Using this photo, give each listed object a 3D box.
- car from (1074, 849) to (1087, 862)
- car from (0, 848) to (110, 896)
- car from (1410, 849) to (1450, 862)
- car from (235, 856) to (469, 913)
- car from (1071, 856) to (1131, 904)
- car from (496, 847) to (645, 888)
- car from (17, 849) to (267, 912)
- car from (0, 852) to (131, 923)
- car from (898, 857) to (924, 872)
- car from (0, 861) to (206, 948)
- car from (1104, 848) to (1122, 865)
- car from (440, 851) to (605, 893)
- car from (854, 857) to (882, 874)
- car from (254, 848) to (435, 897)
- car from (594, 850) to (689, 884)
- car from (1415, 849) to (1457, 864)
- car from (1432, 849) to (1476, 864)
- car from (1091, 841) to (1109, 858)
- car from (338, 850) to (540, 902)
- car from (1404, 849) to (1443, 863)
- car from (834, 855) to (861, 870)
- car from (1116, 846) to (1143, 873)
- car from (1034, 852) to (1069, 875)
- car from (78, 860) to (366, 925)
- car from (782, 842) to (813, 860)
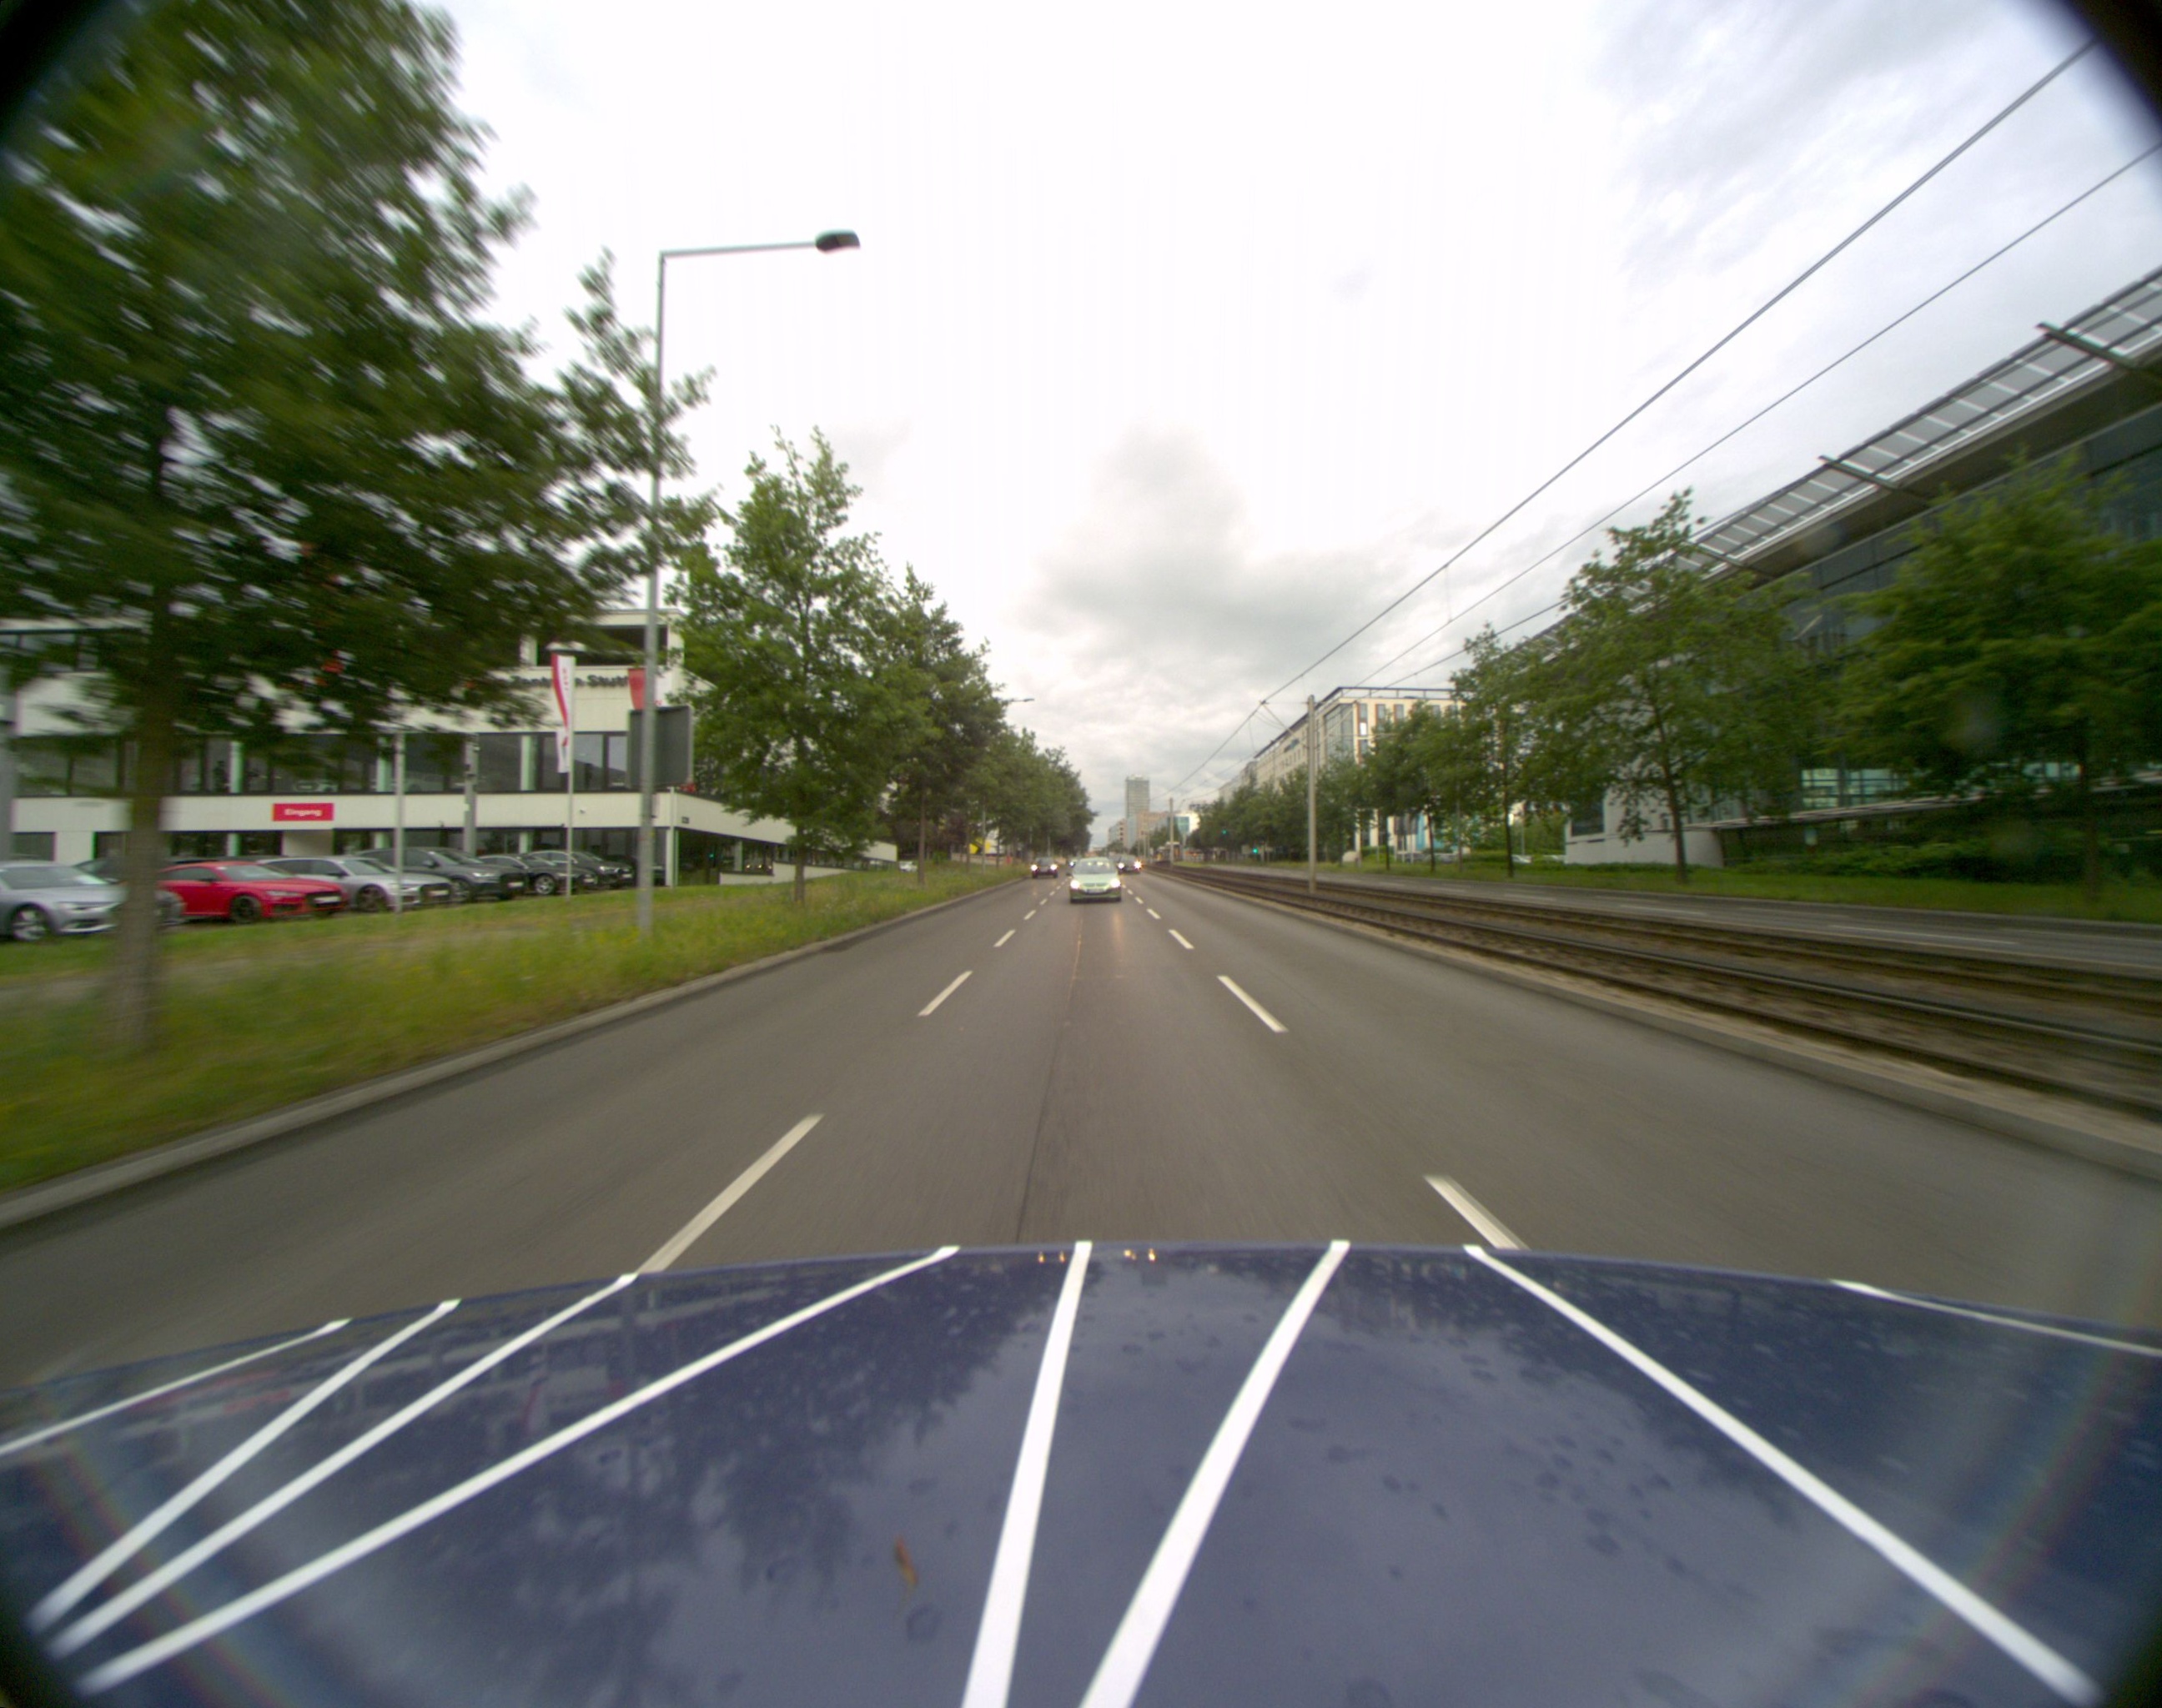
[{"bbox_3d":[-0.060,0.224,118.367,1.860,1.799,4.116,-2,-1,3],"label":"car"},{"bbox_3d":[-37.350,0.619,26.583,4.288,1.584,1.826,-1,1,-1],"label":"car"},{"bbox_3d":[39.501,0.171,86.011,3.990,1.383,1.806,-2,1,28],"label":"car"},{"bbox_3d":[-19.291,0.769,20.245,4.408,1.419,1.890,0,1,1],"label":"car"},{"bbox_3d":[0.784,0.868,26.534,1.828,1.499,4.116,-2,-1,4],"label":"car"},{"bbox_3d":[-19.662,0.501,29.398,4.408,1.473,1.931,-1,1,0],"label":"car"},{"bbox_3d":[-25.033,0.668,20.387,4.288,1.542,1.826,-1,1,-1],"label":"car"},{"bbox_3d":[-25.186,0.758,17.458,4.288,1.542,1.826,-1,1,-1],"label":"car"},{"bbox_3d":[-18.725,1.178,83.772,1.702,1.476,4.461,-3,1,0],"label":"car"},{"bbox_3d":[-19.663,0.911,14.145,4.472,1.447,1.931,-1,1,0],"label":"car"},{"bbox_3d":[3.712,0.363,87.318,1.860,1.799,4.116,-2,-1,5],"label":"car"},{"bbox_3d":[-19.304,0.591,26.417,4.330,1.370,1.836,0,1,-1],"label":"car"},{"bbox_3d":[-21.486,1.134,76.781,1.702,1.666,3.641,1,1,0],"label":"car"},{"bbox_3d":[-25.025,0.587,25.926,4.288,1.542,1.826,-1,1,-1],"label":"car"},{"bbox_3d":[-19.434,0.532,33.810,1.902,1.330,3.922,-1,1,0],"label":"car"},{"bbox_3d":[38.725,0.248,82.806,3.990,1.383,1.767,-2,1,28],"label":"car"},{"bbox_3d":[39.120,0.270,79.664,3.990,1.383,1.806,-2,1,28],"label":"car"},{"bbox_3d":[2.483,-0.603,97.486,1.998,2.002,4.001,-3,1,4],"label":"car"},{"bbox_3d":[-19.397,0.634,23.130,4.408,1.492,2.040,0,1,1],"label":"car"},{"bbox_3d":[40.140,0.264,88.993,3.990,1.383,1.806,-2,1,28],"label":"car"},{"bbox_3d":[-25.967,0.941,84.560,1.702,1.476,3.641,-3,1,0],"label":"car"},{"bbox_3d":[3.881,0.422,60.626,1.998,2.002,4.000,-3,1,4],"label":"car"},{"bbox_3d":[-2.187,0.707,56.705,1.827,1.599,4.117,-2,-1,8],"label":"car"},{"bbox_3d":[-19.601,0.853,17.495,4.408,1.340,1.930,0,1,0],"label":"car"},{"bbox_3d":[-28.834,-0.337,77.297,1.702,1.666,3.641,-3,1,0],"label":"car"}]
